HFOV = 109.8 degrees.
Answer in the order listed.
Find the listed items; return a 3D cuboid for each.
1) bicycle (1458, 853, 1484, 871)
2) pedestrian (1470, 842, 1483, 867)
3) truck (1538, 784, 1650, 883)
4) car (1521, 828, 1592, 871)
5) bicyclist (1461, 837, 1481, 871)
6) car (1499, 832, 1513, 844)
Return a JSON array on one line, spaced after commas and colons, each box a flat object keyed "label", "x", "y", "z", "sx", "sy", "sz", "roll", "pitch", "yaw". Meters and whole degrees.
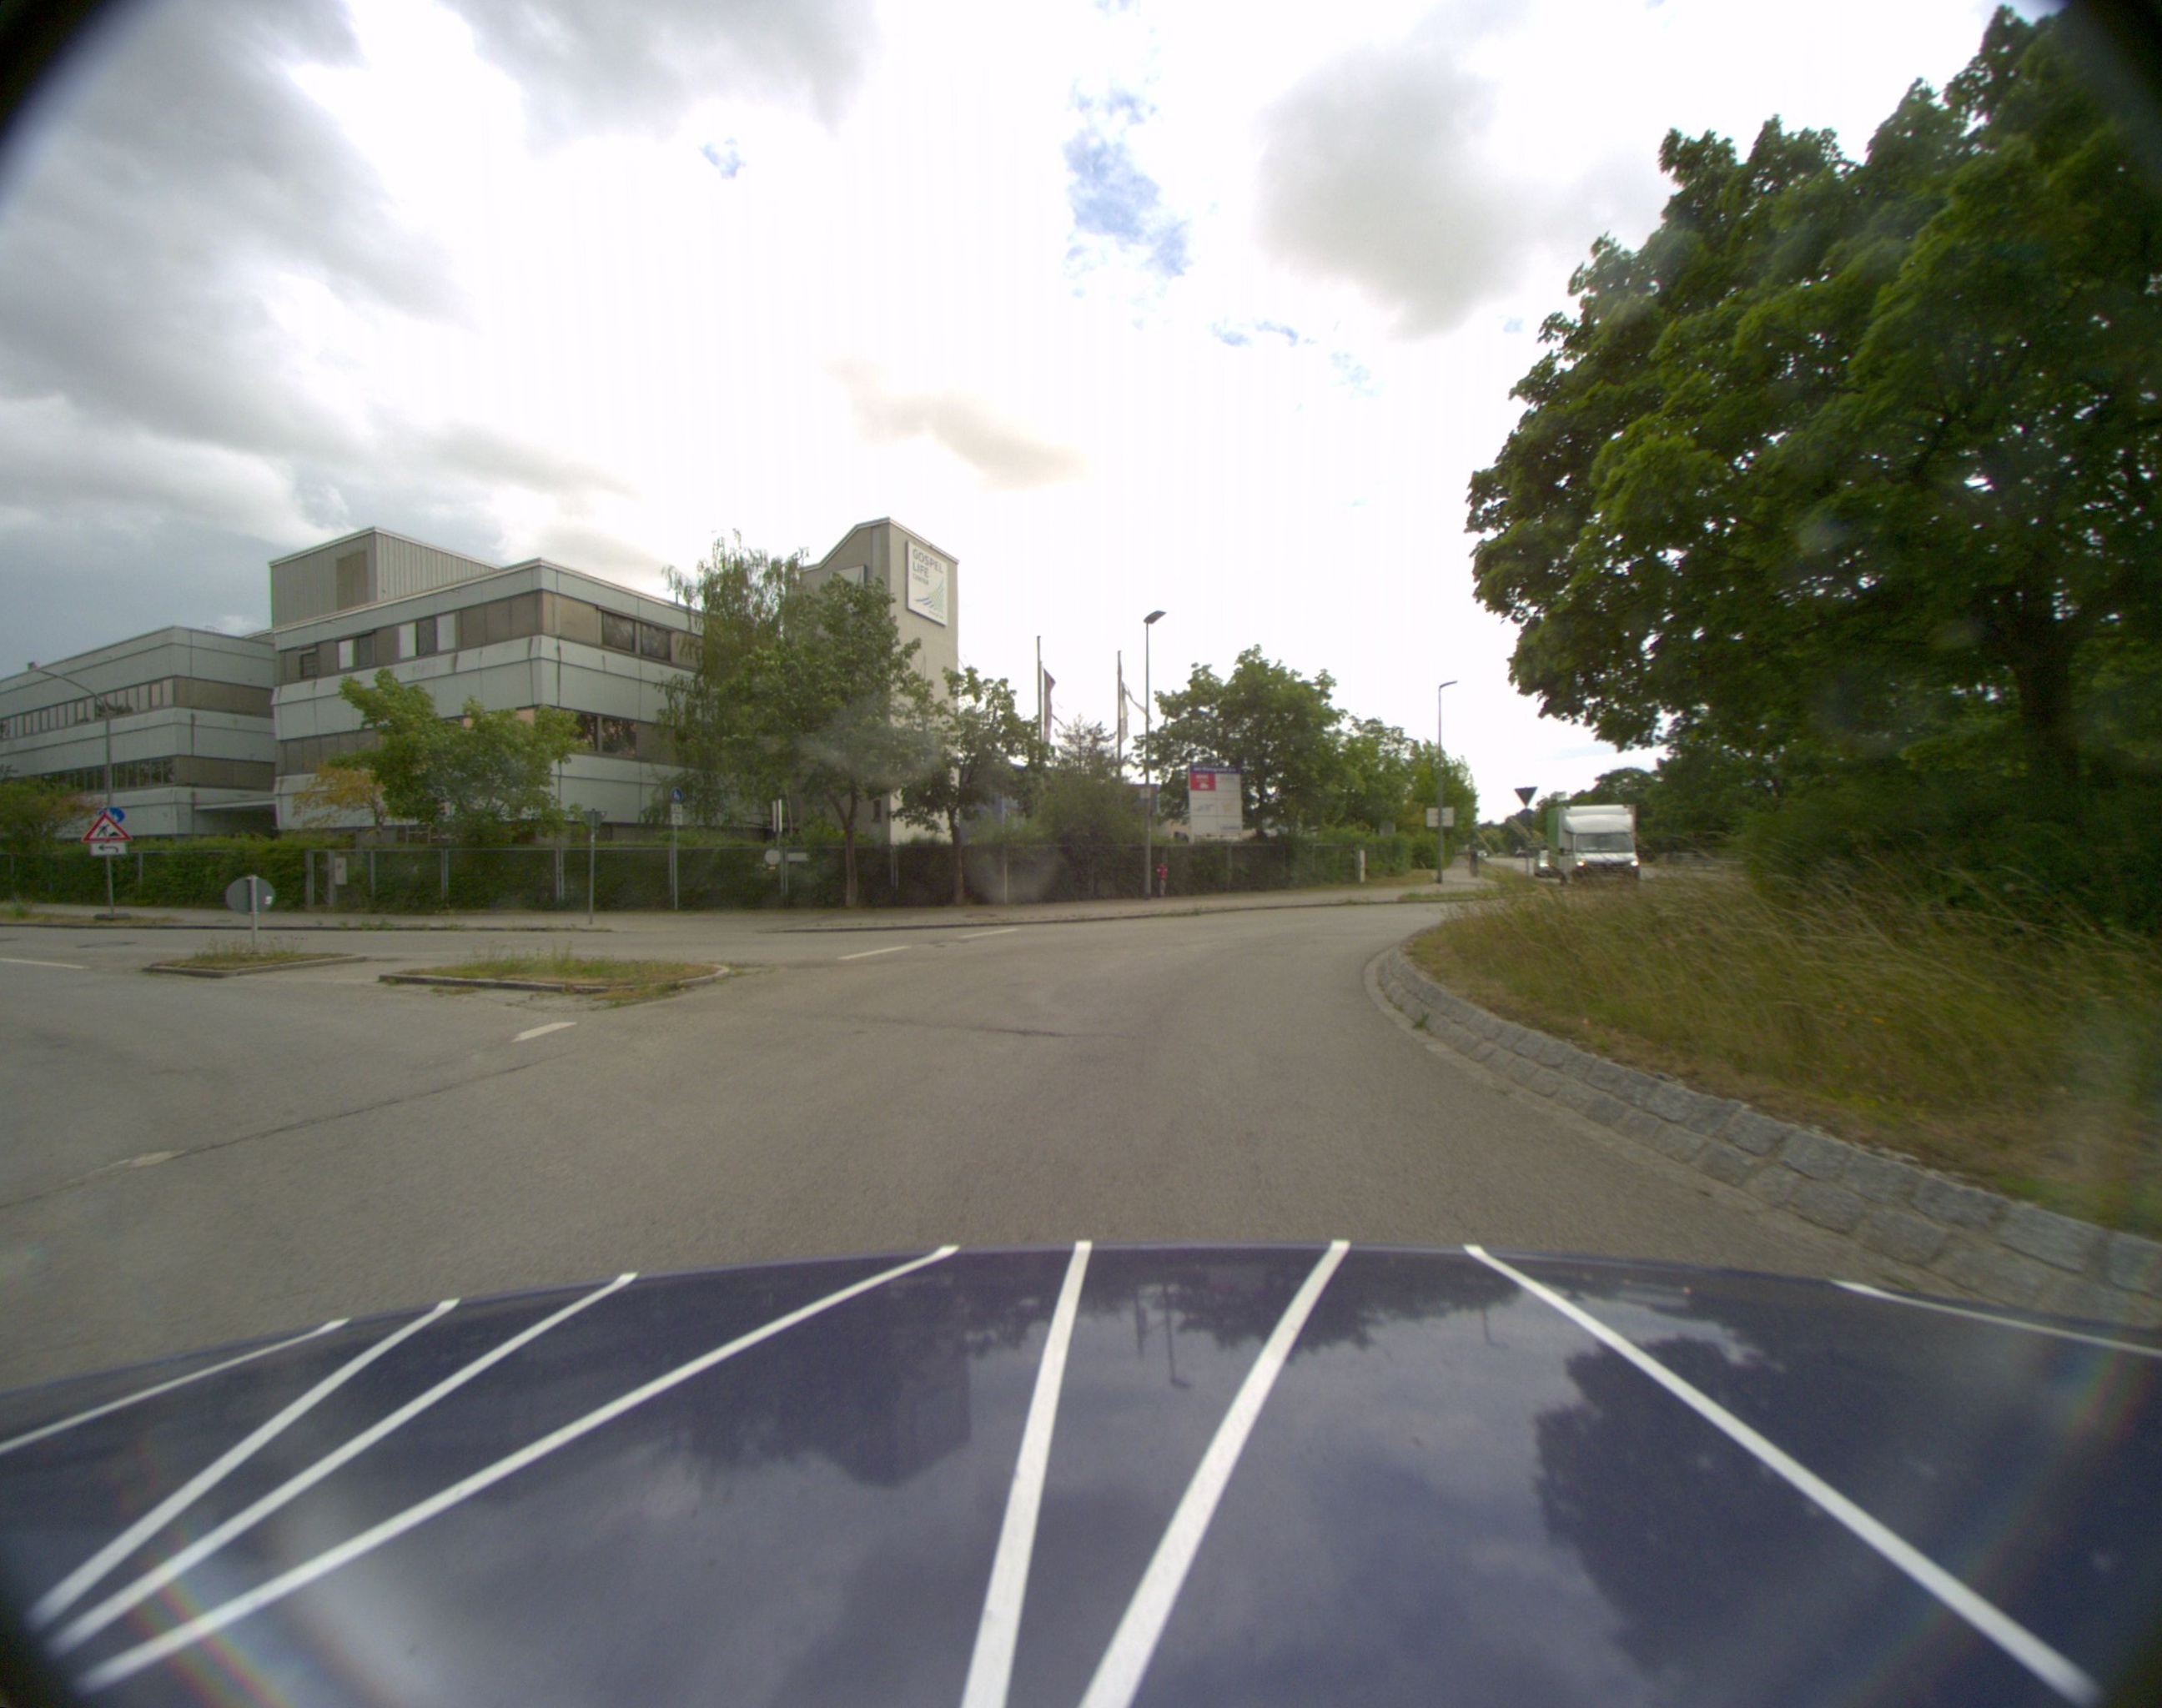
[{"label": "bicycle", "x": 21.166, "y": 0.435, "z": 41.287, "sx": 0.964, "sy": 0.871, "sz": 2.499, "roll": 2, "pitch": 2, "yaw": 20}, {"label": "pedestrian", "x": 25.005, "y": 0.025, "z": 48.045, "sx": 0.544, "sy": 1.521, "sz": 0.845, "roll": 0, "pitch": 1, "yaw": 10}, {"label": "truck", "x": 20.313, "y": -0.772, "z": 30.498, "sx": 2.610, "sy": 3.428, "sz": 7.519, "roll": -2, "pitch": 0, "yaw": 26}, {"label": "car", "x": 25.705, "y": -0.272, "z": 41.289, "sx": 2.610, "sy": 2.113, "sz": 5.733, "roll": -2, "pitch": 0, "yaw": 26}, {"label": "bicyclist", "x": 21.250, "y": -0.007, "z": 41.419, "sx": 0.810, "sy": 1.778, "sz": 0.980, "roll": 2, "pitch": 2, "yaw": 20}, {"label": "car", "x": 81.576, "y": -3.105, "z": 145.975, "sx": 2.033, "sy": 2.113, "sz": 5.733, "roll": -2, "pitch": 0, "yaw": 26}]
